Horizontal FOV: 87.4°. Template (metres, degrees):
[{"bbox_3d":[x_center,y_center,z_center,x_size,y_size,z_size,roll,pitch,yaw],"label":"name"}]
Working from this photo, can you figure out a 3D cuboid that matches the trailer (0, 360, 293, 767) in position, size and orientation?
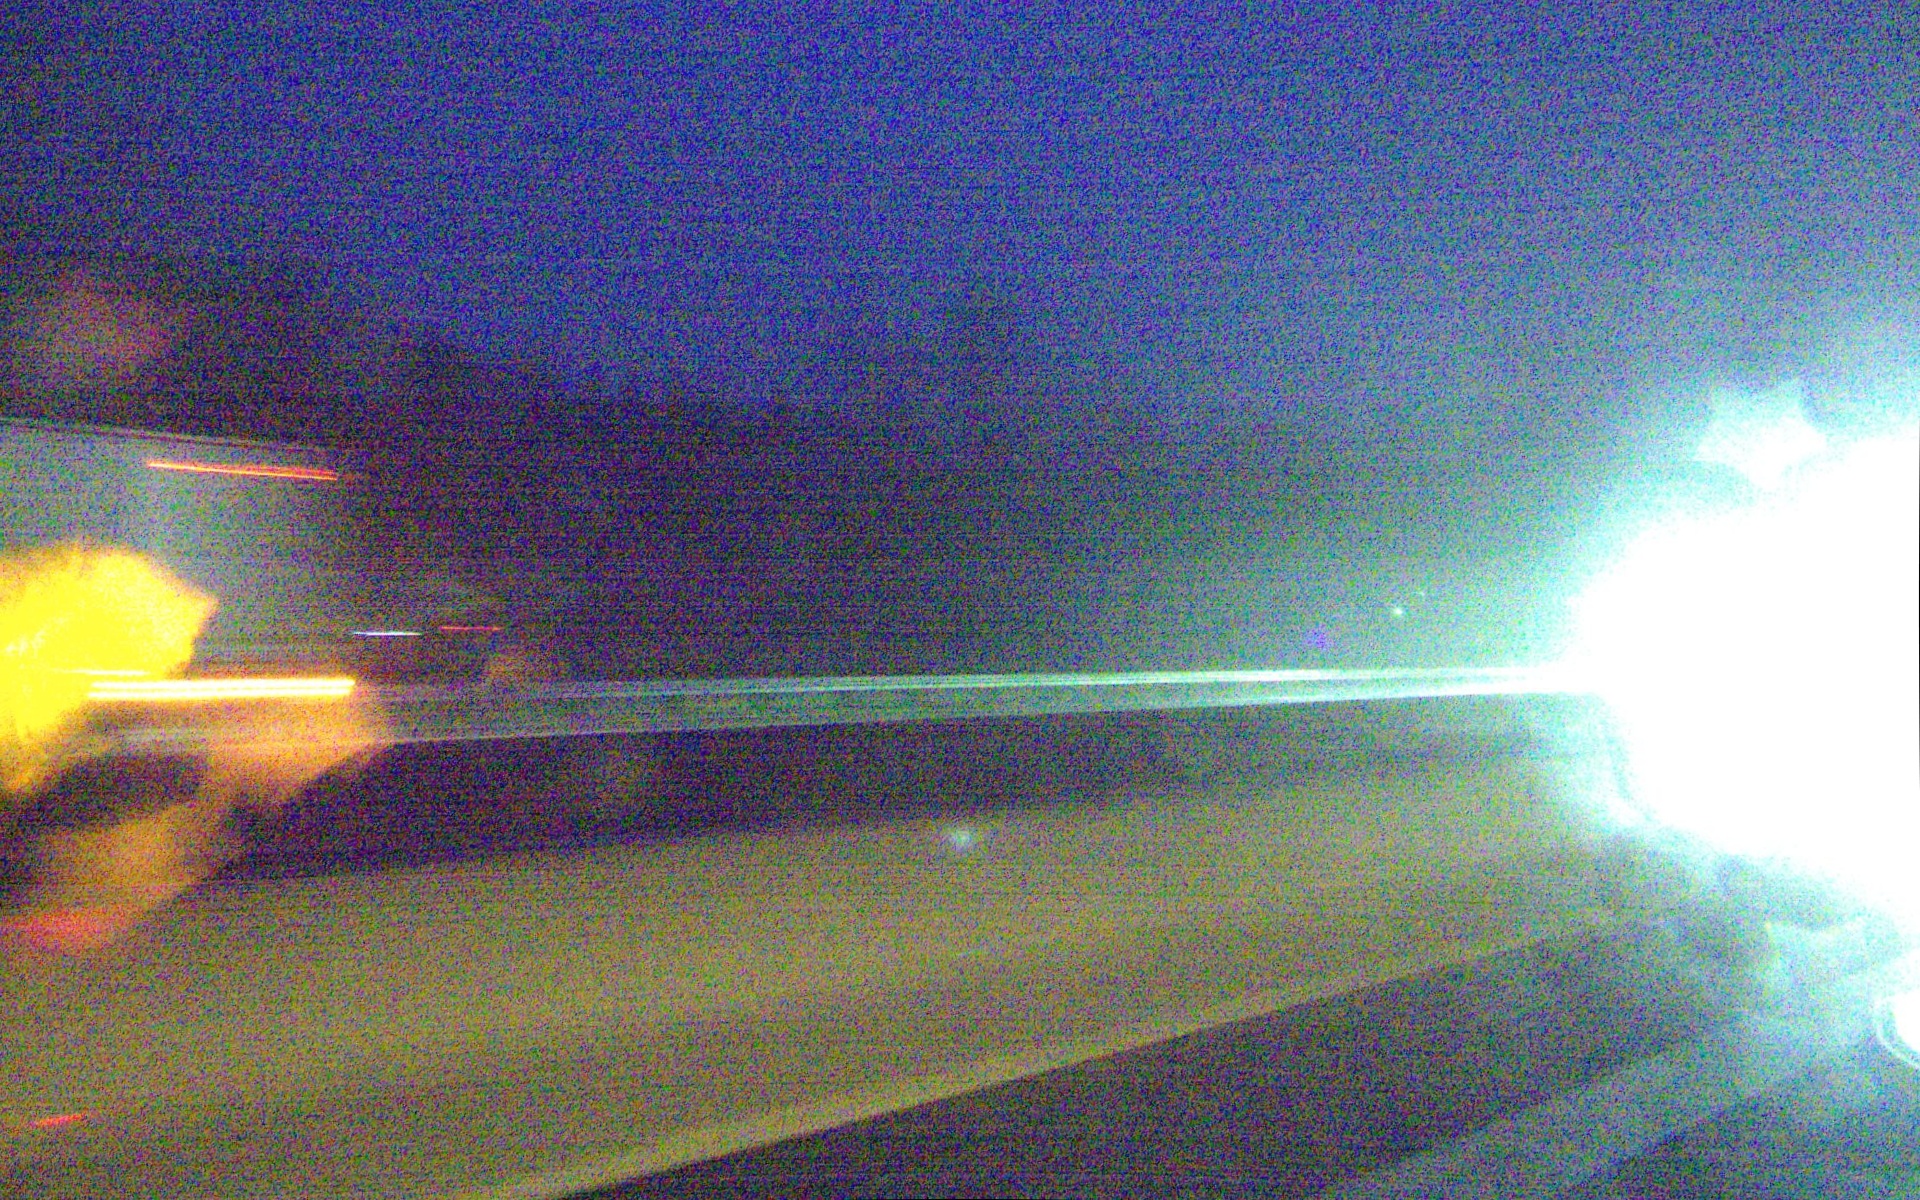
[{"bbox_3d":[-15.169,-0.569,10.339,13.562,4.605,2.609,2,0,-31],"label":"trailer"}]

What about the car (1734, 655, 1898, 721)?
[{"bbox_3d":[23.845,2.393,27.952,4.614,1.546,1.984,2,0,-30],"label":"car"}]
